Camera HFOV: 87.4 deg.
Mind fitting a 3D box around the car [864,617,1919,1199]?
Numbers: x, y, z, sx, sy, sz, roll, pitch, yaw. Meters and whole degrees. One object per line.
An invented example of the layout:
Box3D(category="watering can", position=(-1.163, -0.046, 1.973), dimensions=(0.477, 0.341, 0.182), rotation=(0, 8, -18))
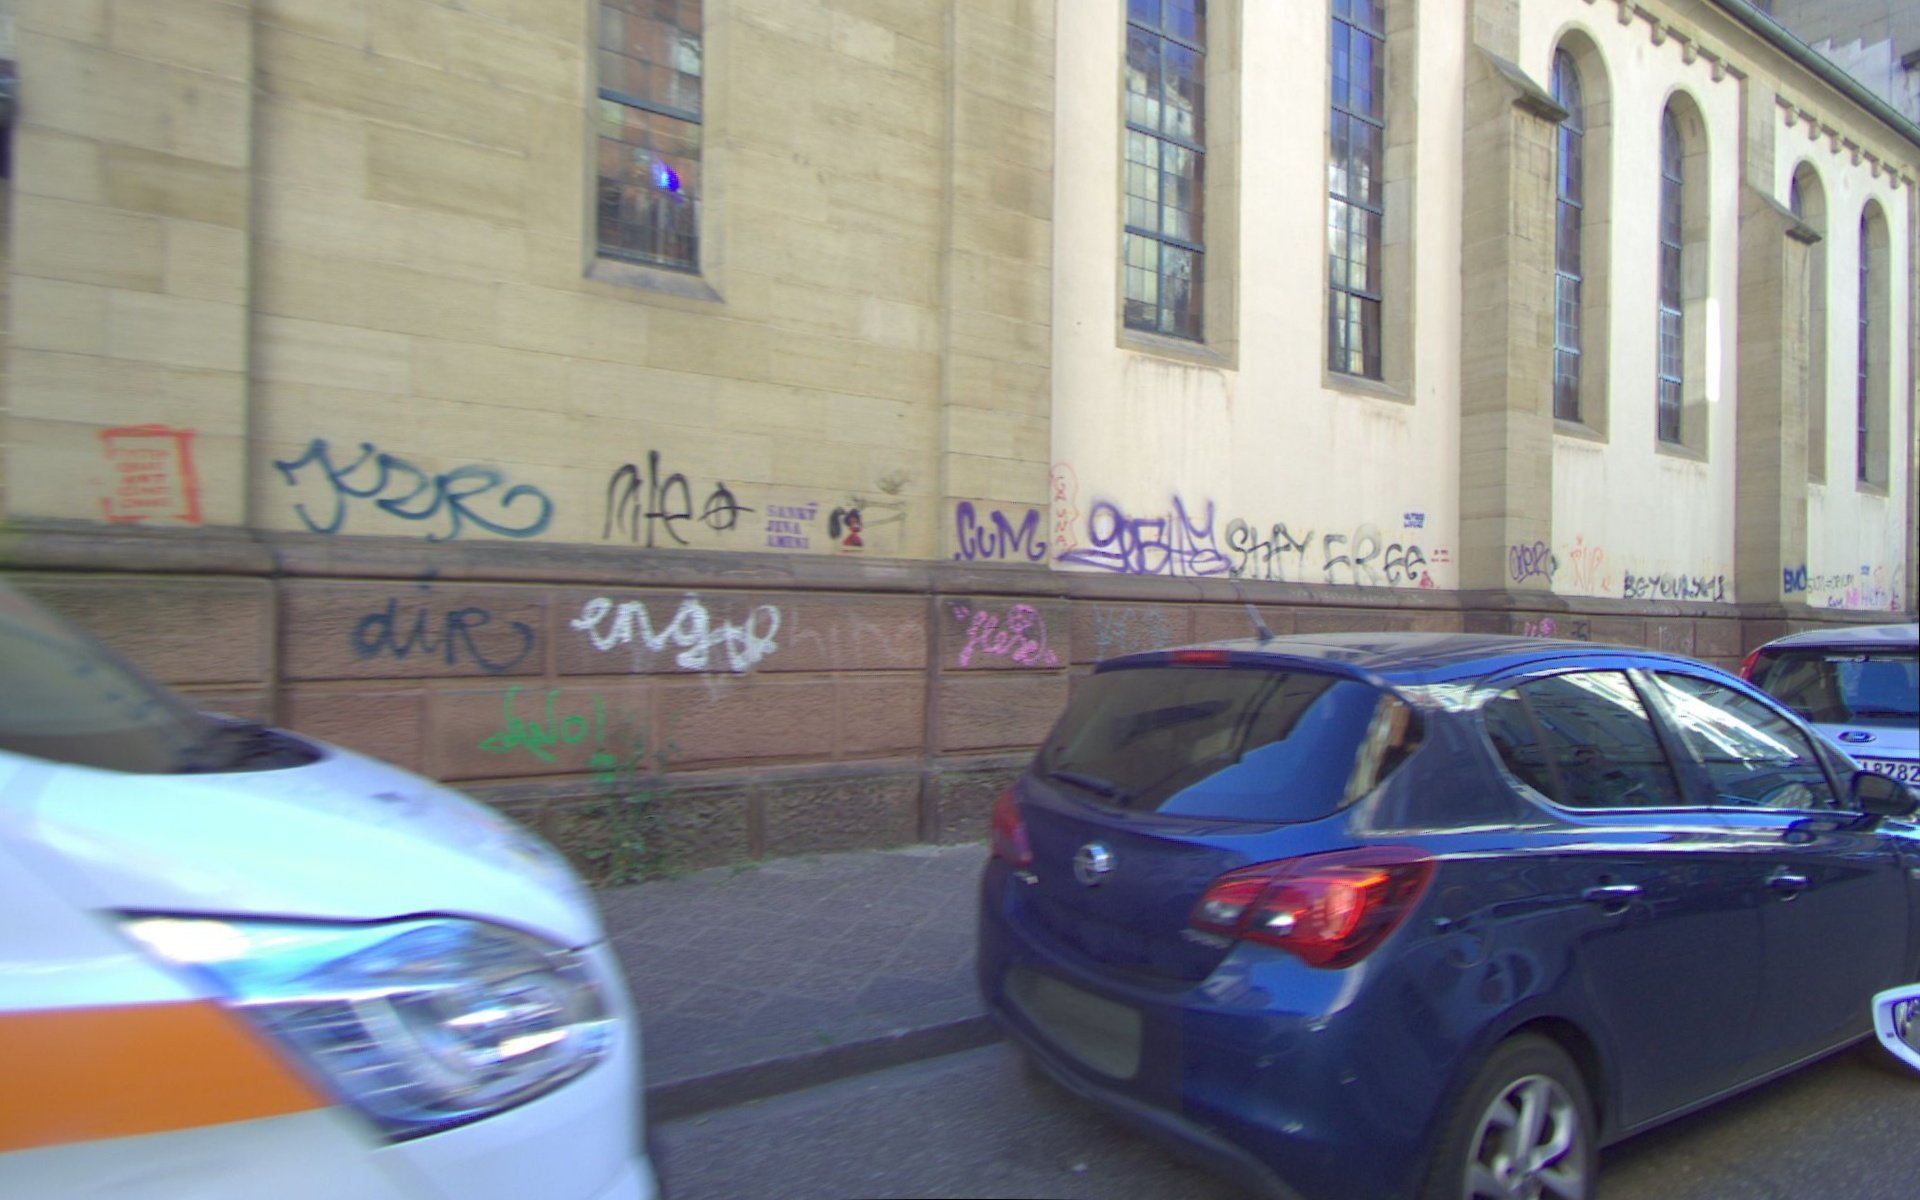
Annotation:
Box3D(category="car", position=(1.792, 0.839, 3.314), dimensions=(3.904, 1.471, 1.608), rotation=(2, -3, -30))

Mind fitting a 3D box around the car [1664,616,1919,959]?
Box3D(category="car", position=(6.009, 0.920, 5.877), dimensions=(3.954, 1.579, 1.664), rotation=(2, -2, -31))

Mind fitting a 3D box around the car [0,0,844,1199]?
Box3D(category="car", position=(-2.560, 0.463, 0.826), dimensions=(4.557, 1.983, 1.855), rotation=(2, -2, -31))
